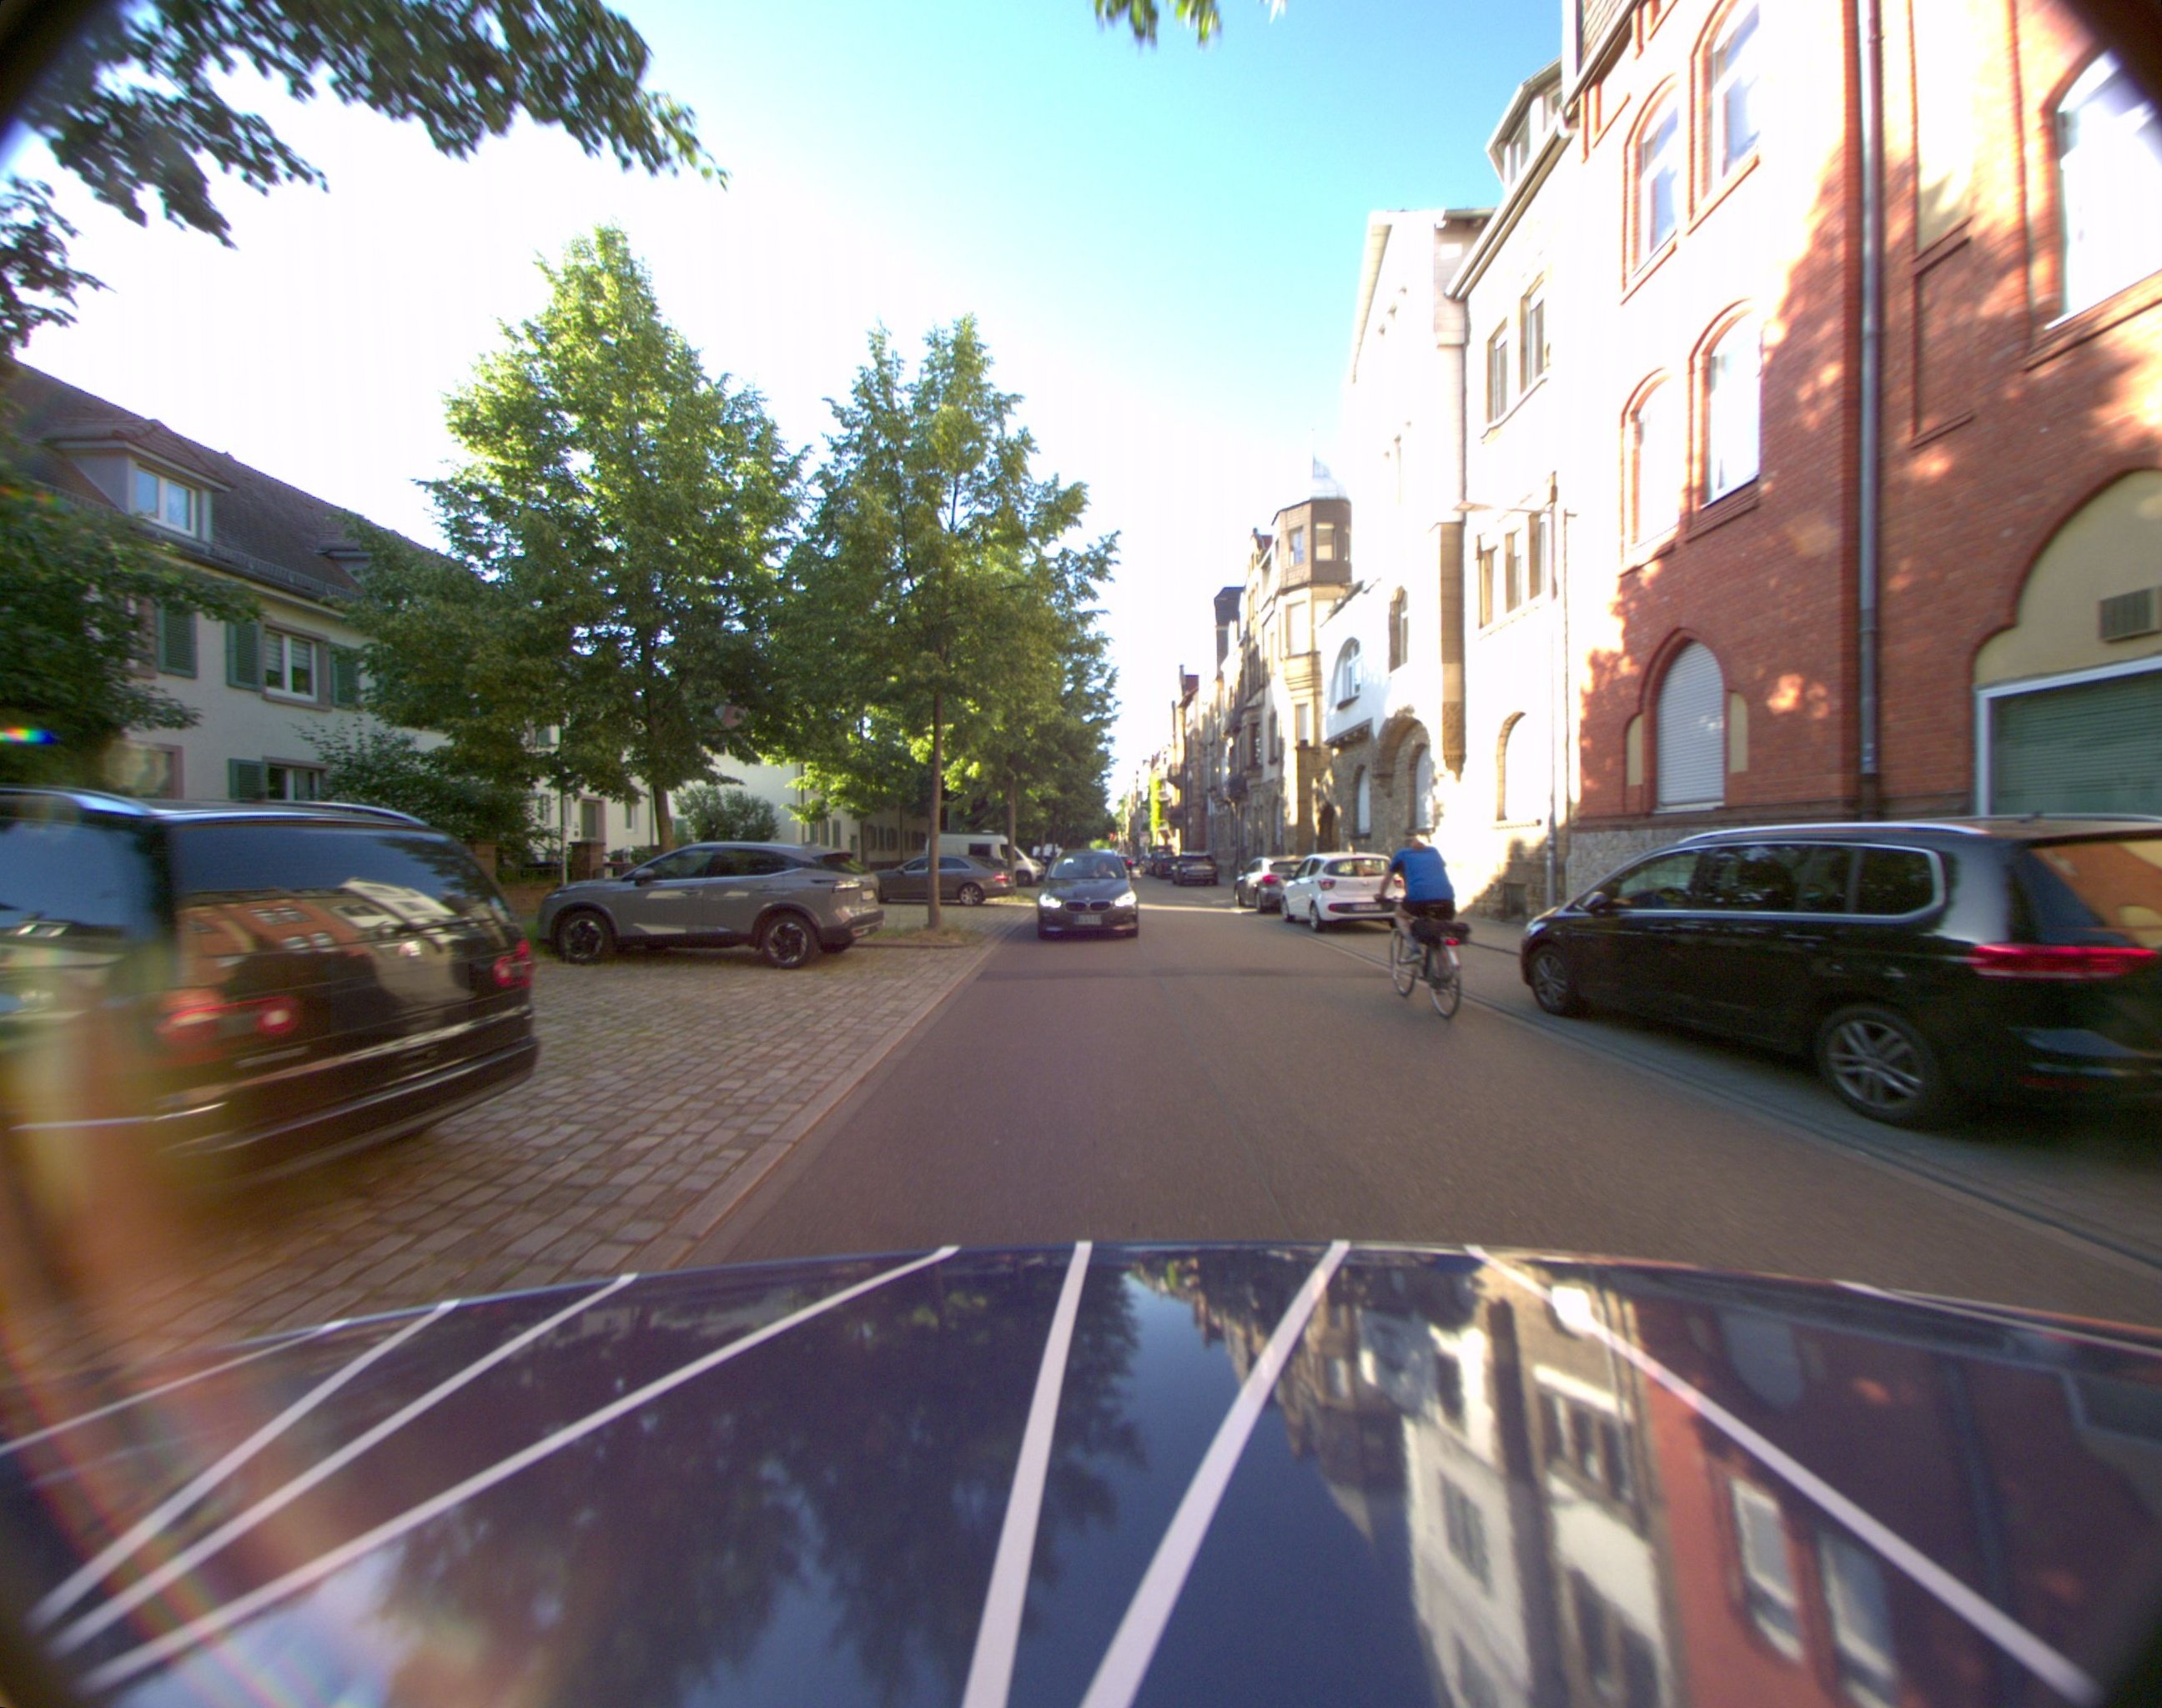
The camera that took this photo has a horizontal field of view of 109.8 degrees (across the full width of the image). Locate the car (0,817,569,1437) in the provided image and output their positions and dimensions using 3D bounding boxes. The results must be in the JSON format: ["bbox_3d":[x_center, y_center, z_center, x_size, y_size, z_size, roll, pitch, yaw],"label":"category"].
[{"bbox_3d":[-5.055,0.672,3.140,4.592,1.667,1.907,2,1,3],"label":"car"}]

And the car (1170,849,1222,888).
[{"bbox_3d":[5.453,0.642,36.666,1.881,1.707,4.339,-2,0,1],"label":"car"}]

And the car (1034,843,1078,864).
[{"bbox_3d":[-3.142,-0.040,96.366,5.448,2.646,2.134,0,0,1],"label":"car"}]

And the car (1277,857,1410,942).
[{"bbox_3d":[5.137,0.820,15.347,1.570,1.462,3.592,-2,0,3],"label":"car"}]

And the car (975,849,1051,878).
[{"bbox_3d":[-4.243,0.607,48.130,4.606,1.706,2.000,1,0,-1],"label":"car"}]

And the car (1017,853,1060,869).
[{"bbox_3d":[-3.927,0.667,70.717,3.998,1.504,1.572,0,0,-3],"label":"car"}]

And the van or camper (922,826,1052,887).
[{"bbox_3d":[-4.345,0.113,35.708,5.733,2.502,2.162,2,1,0],"label":"van or camper"}]

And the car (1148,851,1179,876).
[{"bbox_3d":[5.904,0.625,54.978,1.774,1.658,4.212,-2,1,1],"label":"car"}]

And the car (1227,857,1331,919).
[{"bbox_3d":[5.194,0.825,20.470,1.681,1.434,4.111,-2,0,0],"label":"car"}]

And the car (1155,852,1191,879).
[{"bbox_3d":[5.805,0.702,48.374,1.774,1.493,4.211,-1,2,1],"label":"car"}]

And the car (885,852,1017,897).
[{"bbox_3d":[-4.739,0.721,28.084,4.486,1.427,1.828,2,0,1],"label":"car"}]

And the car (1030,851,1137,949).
[{"bbox_3d":[0.100,0.774,15.023,1.753,1.596,4.551,-2,0,2],"label":"car"}]

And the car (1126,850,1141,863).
[{"bbox_3d":[6.784,0.307,98.890,1.686,1.496,3.629,-4,-1,2],"label":"car"}]

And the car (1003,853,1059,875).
[{"bbox_3d":[-3.616,0.738,55.383,3.997,1.543,1.555,0,0,1],"label":"car"}]

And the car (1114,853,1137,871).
[{"bbox_3d":[3.795,0.679,65.399,1.631,1.469,3.759,1,0,-1],"label":"car"}]

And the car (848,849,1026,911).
[{"bbox_3d":[-4.133,0.732,22.388,4.850,1.530,1.894,2,1,-1],"label":"car"}]

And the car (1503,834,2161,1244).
[{"bbox_3d":[5.051,0.740,5.336,1.673,1.671,4.349,-2,1,-1],"label":"car"}]

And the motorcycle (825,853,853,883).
[{"bbox_3d":[-11.846,0.673,37.255,0.660,1.398,2.016,-2,1,1],"label":"motorcycle"}]

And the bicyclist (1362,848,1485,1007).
[{"bbox_3d":[3.283,0.664,7.372,0.761,1.445,0.948,0,1,1],"label":"bicyclist"}]

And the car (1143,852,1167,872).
[{"bbox_3d":[5.857,0.667,60.497,1.633,1.439,3.856,-4,-1,2],"label":"car"}]

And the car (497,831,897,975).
[{"bbox_3d":[-5.041,0.612,10.451,4.487,1.624,1.875,2,1,0],"label":"car"}]

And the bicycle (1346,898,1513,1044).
[{"bbox_3d":[3.284,1.049,7.389,0.759,1.101,1.907,0,1,1],"label":"bicycle"}]
